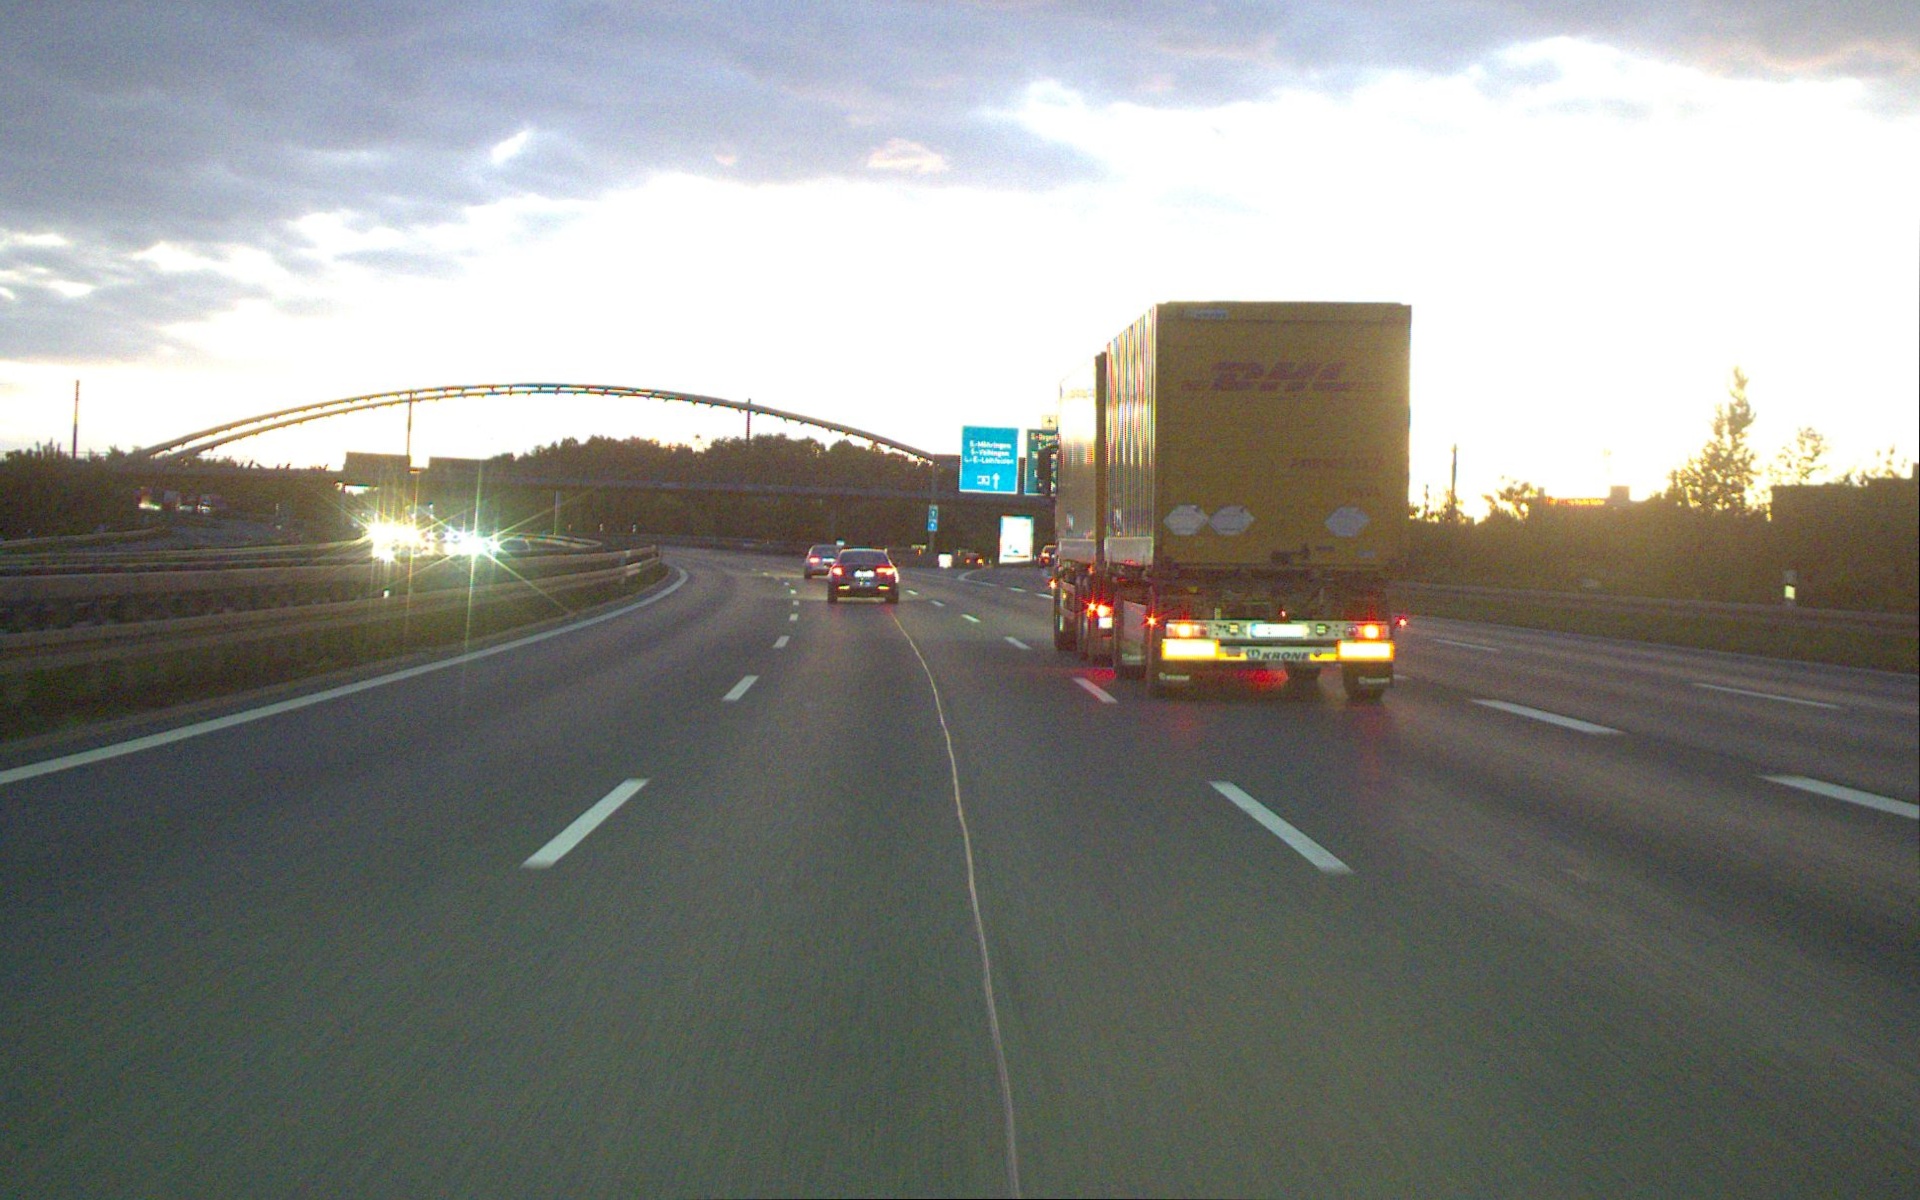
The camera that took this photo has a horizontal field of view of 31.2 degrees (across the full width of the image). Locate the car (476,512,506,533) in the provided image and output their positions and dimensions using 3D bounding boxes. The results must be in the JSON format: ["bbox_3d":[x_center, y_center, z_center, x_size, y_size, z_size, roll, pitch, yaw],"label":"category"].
[{"bbox_3d":[-32.975,-5.460,241.634,1.993,1.399,4.799,1,1,-7],"label":"car"}]

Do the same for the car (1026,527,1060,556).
[{"bbox_3d":[5.399,-3.788,223.086,1.994,1.711,3.999,2,0,4],"label":"car"}]

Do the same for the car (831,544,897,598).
[{"bbox_3d":[-2.551,-0.756,91.156,1.689,1.396,3.409,1,0,-2],"label":"car"}]

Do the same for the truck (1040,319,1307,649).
[{"bbox_3d":[2.772,-1.563,47.932,2.690,4.057,10.521,1,1,-2],"label":"truck"}]

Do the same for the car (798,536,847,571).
[{"bbox_3d":[-5.784,-1.959,144.866,1.690,1.397,3.408,0,0,4],"label":"car"}]

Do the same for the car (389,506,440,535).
[{"bbox_3d":[-23.757,-3.450,149.863,1.721,1.223,4.184,1,1,-2],"label":"car"}]

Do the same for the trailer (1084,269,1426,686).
[{"bbox_3d":[3.059,-1.312,38.251,2.721,4.057,8.832,1,1,-2],"label":"trailer"}]
